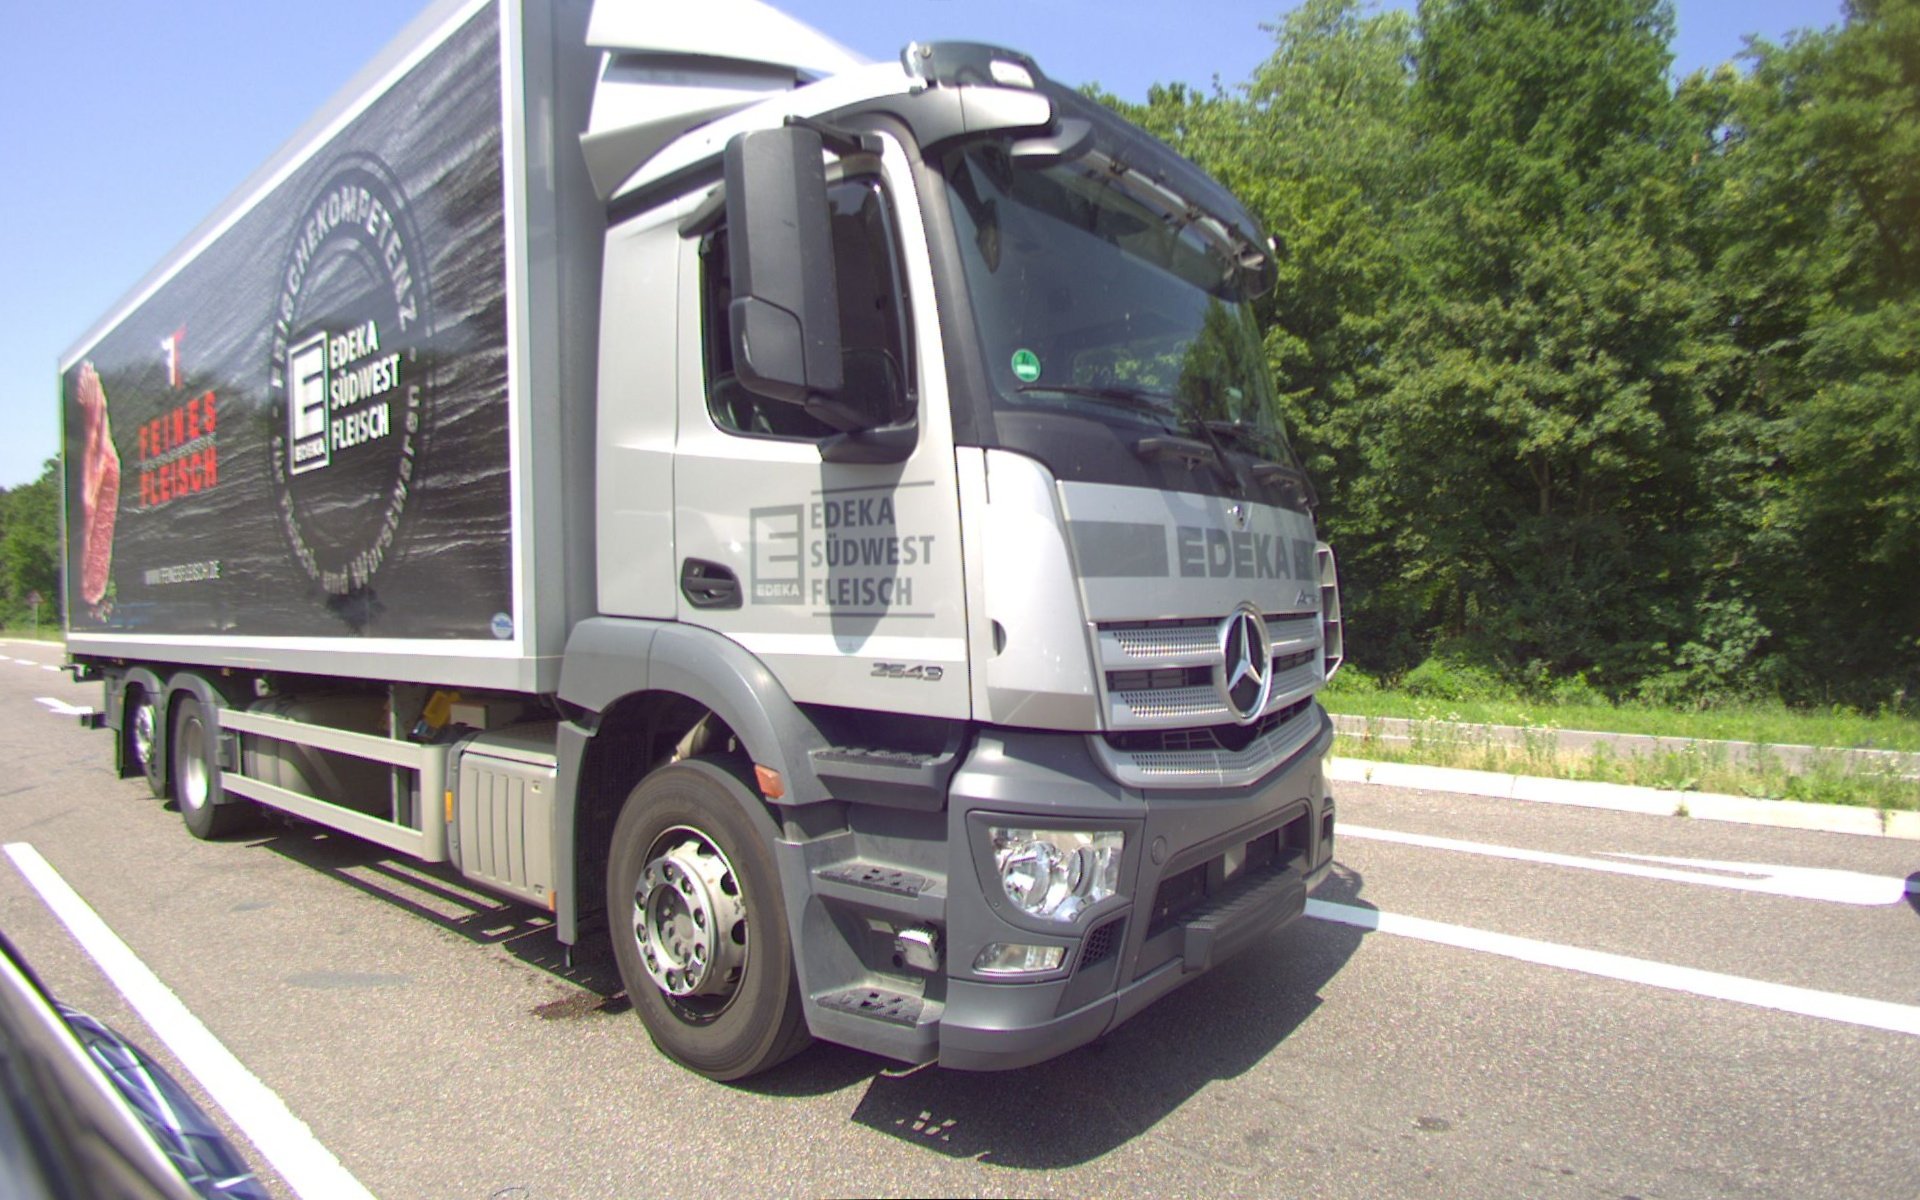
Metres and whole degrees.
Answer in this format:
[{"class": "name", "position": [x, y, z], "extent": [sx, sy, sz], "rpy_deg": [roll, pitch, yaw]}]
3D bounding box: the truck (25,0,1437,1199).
[{"class": "truck", "position": [-3.288, -0.520, 6.687], "extent": [11.309, 3.914, 2.719], "rpy_deg": [-1, 0, 39]}]
